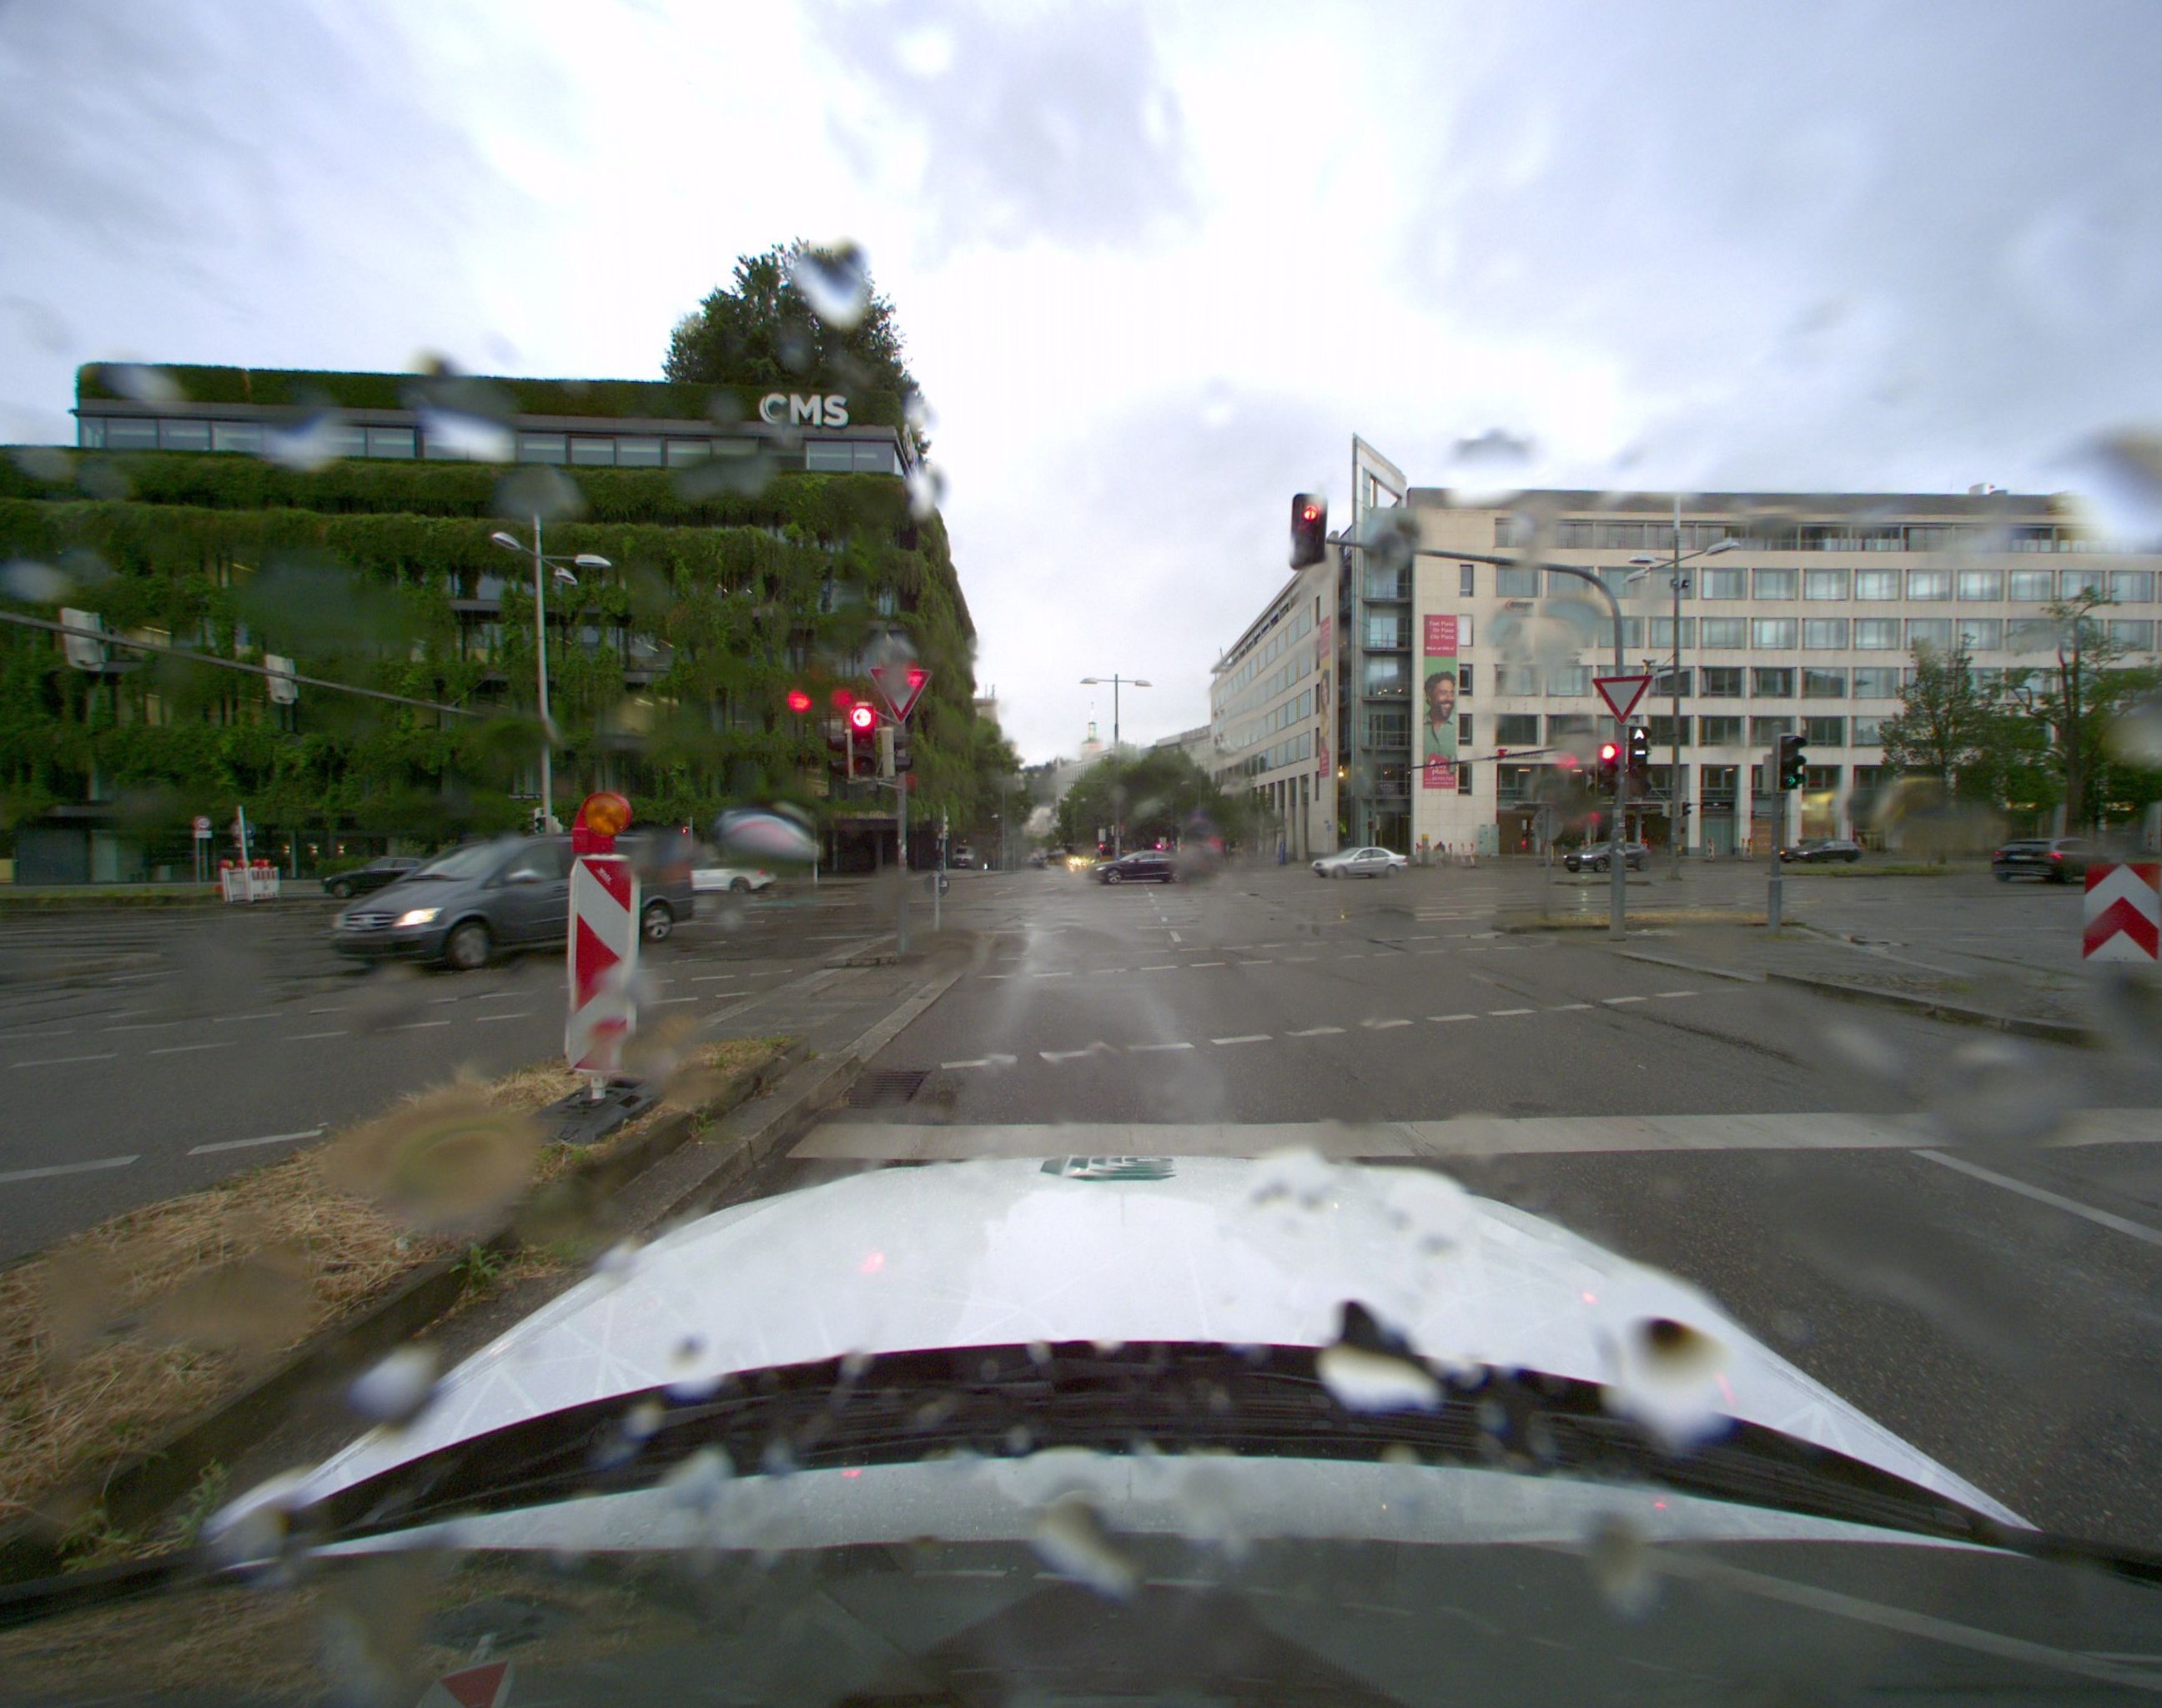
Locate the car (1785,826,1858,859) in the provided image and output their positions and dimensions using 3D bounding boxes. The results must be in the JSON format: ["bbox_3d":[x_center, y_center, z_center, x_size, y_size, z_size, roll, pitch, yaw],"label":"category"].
[{"bbox_3d":[47.533,-0.710,52.271,4.669,2.014,1.538,0,-1,-21],"label":"car"}]

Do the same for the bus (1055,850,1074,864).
[{"bbox_3d":[-3.532,0.622,173.567,2.631,2.995,7.294,-1,0,-13],"label":"bus"}]

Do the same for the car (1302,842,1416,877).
[{"bbox_3d":[12.868,0.228,37.774,4.723,1.477,1.992,-1,1,-13],"label":"car"}]

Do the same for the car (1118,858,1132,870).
[{"bbox_3d":[5.741,1.318,106.765,1.775,1.508,4.001,0,-1,2],"label":"car"}]

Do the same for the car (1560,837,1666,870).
[{"bbox_3d":[27.096,-0.025,41.510,4.474,1.609,1.826,0,-1,-10],"label":"car"}]

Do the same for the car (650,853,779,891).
[{"bbox_3d":[-15.289,0.718,34.224,4.690,1.512,1.802,0,-1,-14],"label":"car"}]

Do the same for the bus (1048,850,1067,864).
[{"bbox_3d":[-5.227,0.689,180.710,2.631,2.995,7.415,-1,0,-13],"label":"bus"}]

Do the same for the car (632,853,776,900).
[{"bbox_3d":[-14.410,0.829,31.408,4.690,1.512,1.802,-3,0,-14],"label":"car"}]

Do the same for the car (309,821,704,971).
[{"bbox_3d":[-8.768,0.555,13.137,1.978,1.927,4.988,-1,0,18],"label":"car"}]

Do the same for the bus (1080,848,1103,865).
[{"bbox_3d":[1.998,0.421,153.275,2.631,2.995,7.415,-1,0,-13],"label":"bus"}]

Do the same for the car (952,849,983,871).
[{"bbox_3d":[-9.551,0.500,68.728,1.863,1.839,4.001,0,-1,2],"label":"car"}]

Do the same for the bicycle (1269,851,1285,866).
[{"bbox_3d":[16.059,0.372,66.729,0.579,1.194,1.794,-1,-1,40],"label":"bicycle"}]

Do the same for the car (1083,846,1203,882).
[{"bbox_3d":[2.655,0.445,35.497,4.851,1.477,1.991,0,-2,-13],"label":"car"}]

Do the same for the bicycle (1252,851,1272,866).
[{"bbox_3d":[14.737,0.377,66.203,0.588,1.194,1.768,0,-1,-26],"label":"bicycle"}]

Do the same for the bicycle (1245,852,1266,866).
[{"bbox_3d":[15.296,0.415,71.403,1.770,1.194,0.587,0,-1,3],"label":"bicycle"}]

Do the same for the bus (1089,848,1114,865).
[{"bbox_3d":[3.690,0.401,146.082,2.631,2.995,7.415,-1,0,-13],"label":"bus"}]

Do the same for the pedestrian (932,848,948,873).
[{"bbox_3d":[-9.641,0.443,55.755,0.930,1.644,0.774,0,-1,1],"label":"pedestrian"}]

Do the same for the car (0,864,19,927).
[{"bbox_3d":[-27.335,1.002,18.302,3.981,1.475,1.996,-1,0,-6],"label":"car"}]

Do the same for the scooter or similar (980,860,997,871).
[{"bbox_3d":[-9.419,1.176,82.941,0.616,1.004,1.671,-1,0,40],"label":"scooter or similar"}]

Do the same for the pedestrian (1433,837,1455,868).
[{"bbox_3d":[21.949,-0.084,49.320,0.958,1.816,0.837,0,-1,1],"label":"pedestrian"}]

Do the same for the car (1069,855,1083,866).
[{"bbox_3d":[-0.795,1.023,126.972,2.158,1.765,5.108,0,0,-1],"label":"car"}]

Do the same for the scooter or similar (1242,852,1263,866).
[{"bbox_3d":[14.916,0.413,70.789,1.770,1.194,0.587,0,-1,3],"label":"scooter or similar"}]

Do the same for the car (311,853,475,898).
[{"bbox_3d":[-26.551,0.805,31.614,4.406,1.638,1.992,0,-1,-11],"label":"car"}]

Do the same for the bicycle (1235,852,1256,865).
[{"bbox_3d":[14.947,0.440,74.134,1.770,1.194,0.587,0,-1,3],"label":"bicycle"}]

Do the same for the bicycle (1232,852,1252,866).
[{"bbox_3d":[14.480,0.436,73.227,1.770,1.194,0.587,0,-1,3],"label":"bicycle"}]

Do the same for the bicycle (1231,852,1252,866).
[{"bbox_3d":[14.305,0.432,72.596,1.770,1.194,0.587,0,-1,3],"label":"bicycle"}]

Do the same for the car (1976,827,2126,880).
[{"bbox_3d":[33.665,-0.036,28.286,3.996,1.695,1.924,-1,0,-17],"label":"car"}]

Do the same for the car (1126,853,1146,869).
[{"bbox_3d":[5.309,0.663,79.401,1.775,1.508,4.001,0,-1,2],"label":"car"}]

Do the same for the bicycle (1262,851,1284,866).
[{"bbox_3d":[15.209,0.361,64.638,1.607,1.194,0.590,-1,-1,27],"label":"bicycle"}]

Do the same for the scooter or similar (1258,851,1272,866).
[{"bbox_3d":[14.428,0.361,63.972,0.951,1.194,0.458,-1,-1,42],"label":"scooter or similar"}]
